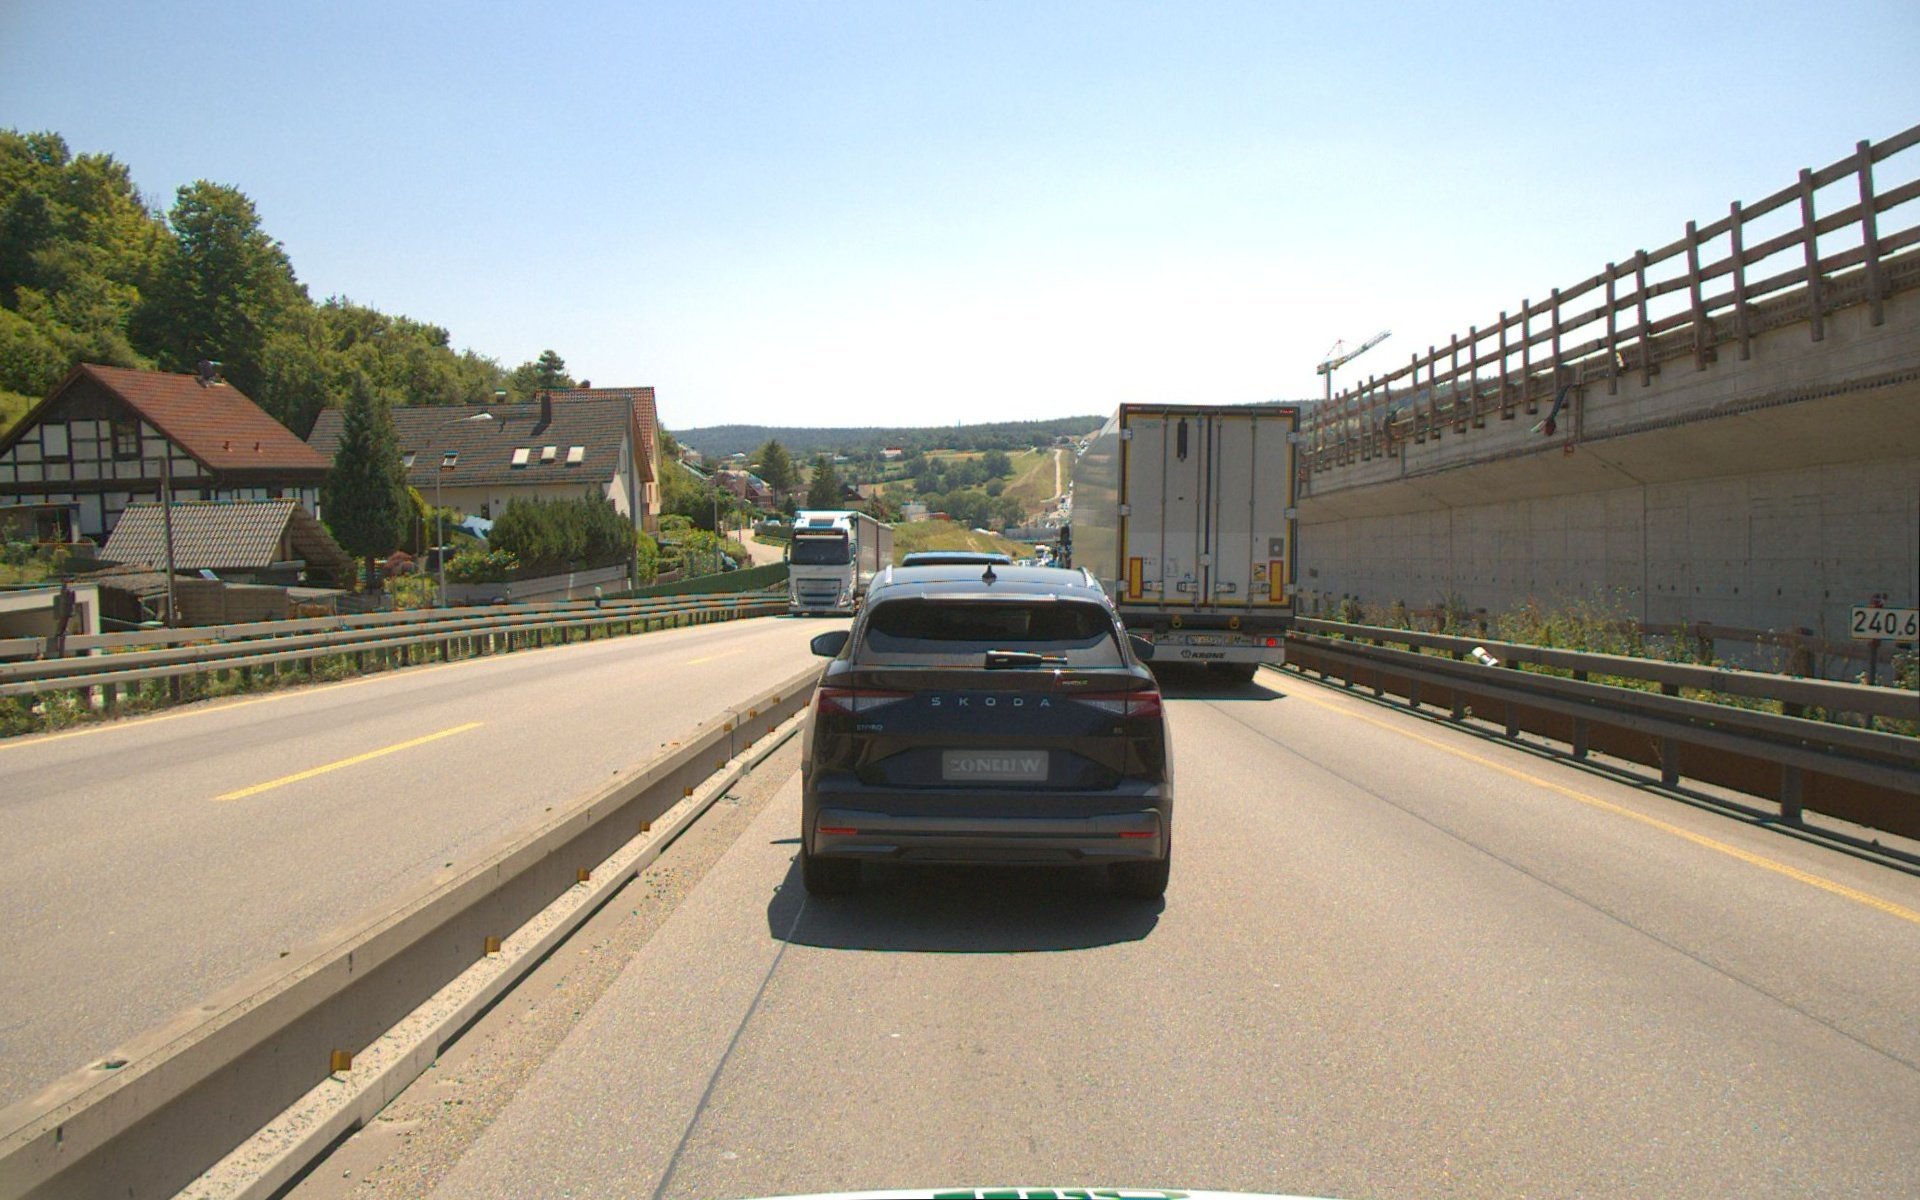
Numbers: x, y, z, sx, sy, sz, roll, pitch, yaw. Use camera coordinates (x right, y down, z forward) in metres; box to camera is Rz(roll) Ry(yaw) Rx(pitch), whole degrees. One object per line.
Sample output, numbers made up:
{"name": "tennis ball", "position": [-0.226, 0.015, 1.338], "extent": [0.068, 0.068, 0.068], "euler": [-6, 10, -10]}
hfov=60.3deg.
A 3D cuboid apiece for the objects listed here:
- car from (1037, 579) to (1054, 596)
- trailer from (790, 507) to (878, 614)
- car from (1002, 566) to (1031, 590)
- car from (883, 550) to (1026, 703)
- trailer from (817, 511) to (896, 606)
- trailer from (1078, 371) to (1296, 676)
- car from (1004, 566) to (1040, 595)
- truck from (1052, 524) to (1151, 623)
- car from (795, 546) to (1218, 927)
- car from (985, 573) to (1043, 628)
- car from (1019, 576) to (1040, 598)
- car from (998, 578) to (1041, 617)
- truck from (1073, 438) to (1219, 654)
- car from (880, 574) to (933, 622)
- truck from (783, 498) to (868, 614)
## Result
{"name": "car", "position": [9.153, -1.318, 177.075], "extent": [1.665, 1.758, 3.838], "euler": [1, 0, 4]}
{"name": "trailer", "position": [-5.134, -1.648, 68.820], "extent": [2.700, 4.141, 8.011], "euler": [1, 1, 2]}
{"name": "car", "position": [4.028, -1.599, 119.132], "extent": [1.953, 1.613, 3.836], "euler": [1, 0, 0]}
{"name": "car", "position": [-0.162, 0.296, 23.081], "extent": [1.673, 1.914, 3.997], "euler": [1, 1, -4]}
{"name": "trailer", "position": [-4.742, -1.910, 77.138], "extent": [2.700, 4.141, 8.638], "euler": [1, 1, 2]}
{"name": "trailer", "position": [3.559, -1.025, 28.717], "extent": [2.479, 4.199, 11.550], "euler": [1, 0, 2]}
{"name": "car", "position": [3.600, -1.113, 96.838], "extent": [1.953, 1.613, 3.836], "euler": [1, 0, 0]}
{"name": "truck", "position": [4.984, -0.830, 60.603], "extent": [3.128, 3.247, 12.813], "euler": [0, 0, 3]}
{"name": "car", "position": [0.064, 0.603, 9.049], "extent": [1.806, 1.614, 3.904], "euler": [1, 0, -4]}
{"name": "car", "position": [1.701, -0.008, 53.339], "extent": [1.672, 1.650, 4.000], "euler": [1, 1, -1]}
{"name": "car", "position": [6.076, -1.113, 143.982], "extent": [1.665, 1.758, 3.838], "euler": [1, 0, 4]}
{"name": "car", "position": [2.623, -0.142, 73.824], "extent": [1.672, 1.650, 4.000], "euler": [1, 1, -1]}
{"name": "truck", "position": [3.837, -1.003, 35.692], "extent": [2.461, 4.095, 8.239], "euler": [1, 0, 2]}
{"name": "car", "position": [-1.898, -0.051, 59.689], "extent": [1.821, 1.639, 4.068], "euler": [1, 0, -1]}
{"name": "truck", "position": [-5.251, -1.698, 65.296], "extent": [2.695, 4.358, 4.959], "euler": [1, 1, 2]}
